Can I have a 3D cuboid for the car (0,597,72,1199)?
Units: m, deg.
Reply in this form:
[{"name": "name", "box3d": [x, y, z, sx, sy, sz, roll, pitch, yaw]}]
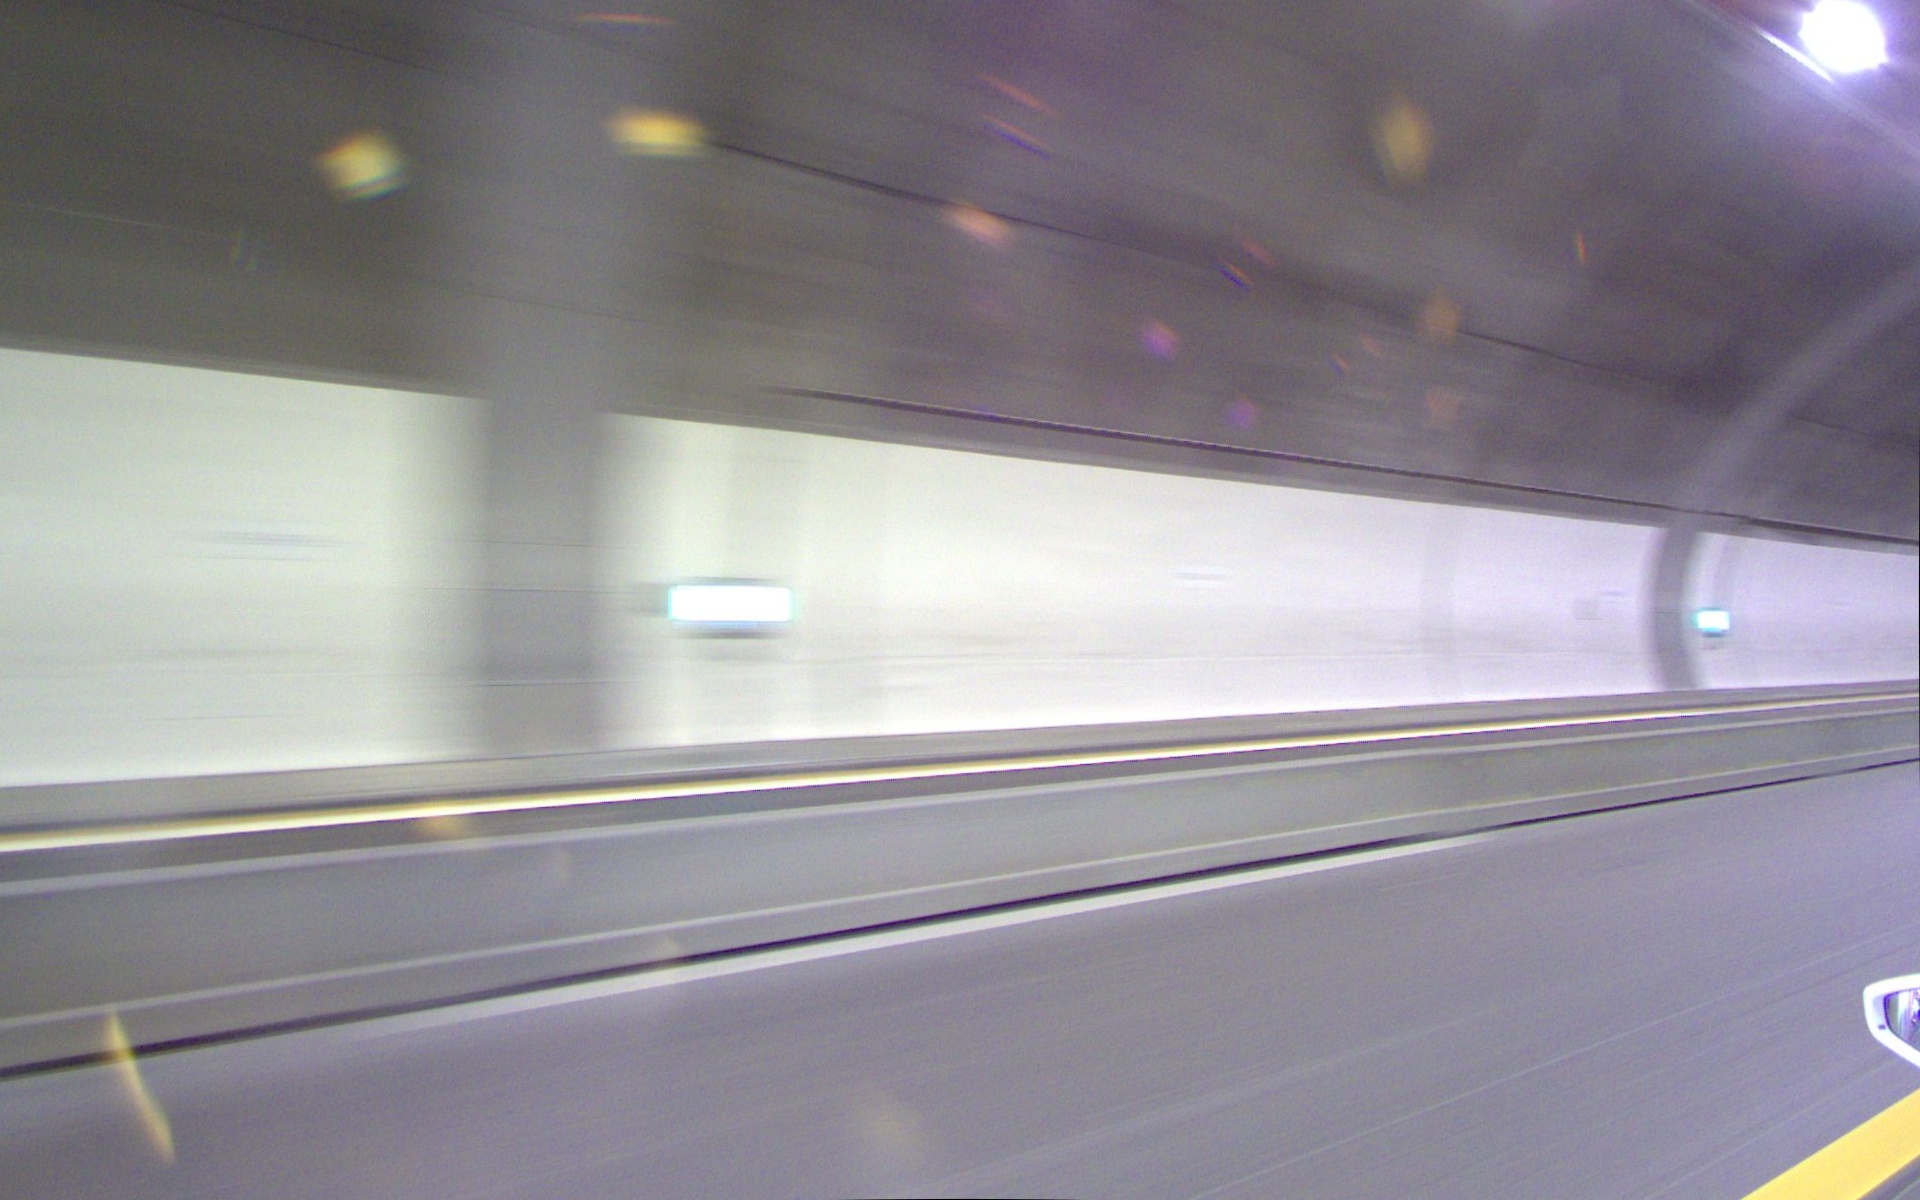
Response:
[{"name": "car", "box3d": [-3.338, 0.682, 0.622, 3.877, 1.436, 1.681, 1, 0, -30]}]
